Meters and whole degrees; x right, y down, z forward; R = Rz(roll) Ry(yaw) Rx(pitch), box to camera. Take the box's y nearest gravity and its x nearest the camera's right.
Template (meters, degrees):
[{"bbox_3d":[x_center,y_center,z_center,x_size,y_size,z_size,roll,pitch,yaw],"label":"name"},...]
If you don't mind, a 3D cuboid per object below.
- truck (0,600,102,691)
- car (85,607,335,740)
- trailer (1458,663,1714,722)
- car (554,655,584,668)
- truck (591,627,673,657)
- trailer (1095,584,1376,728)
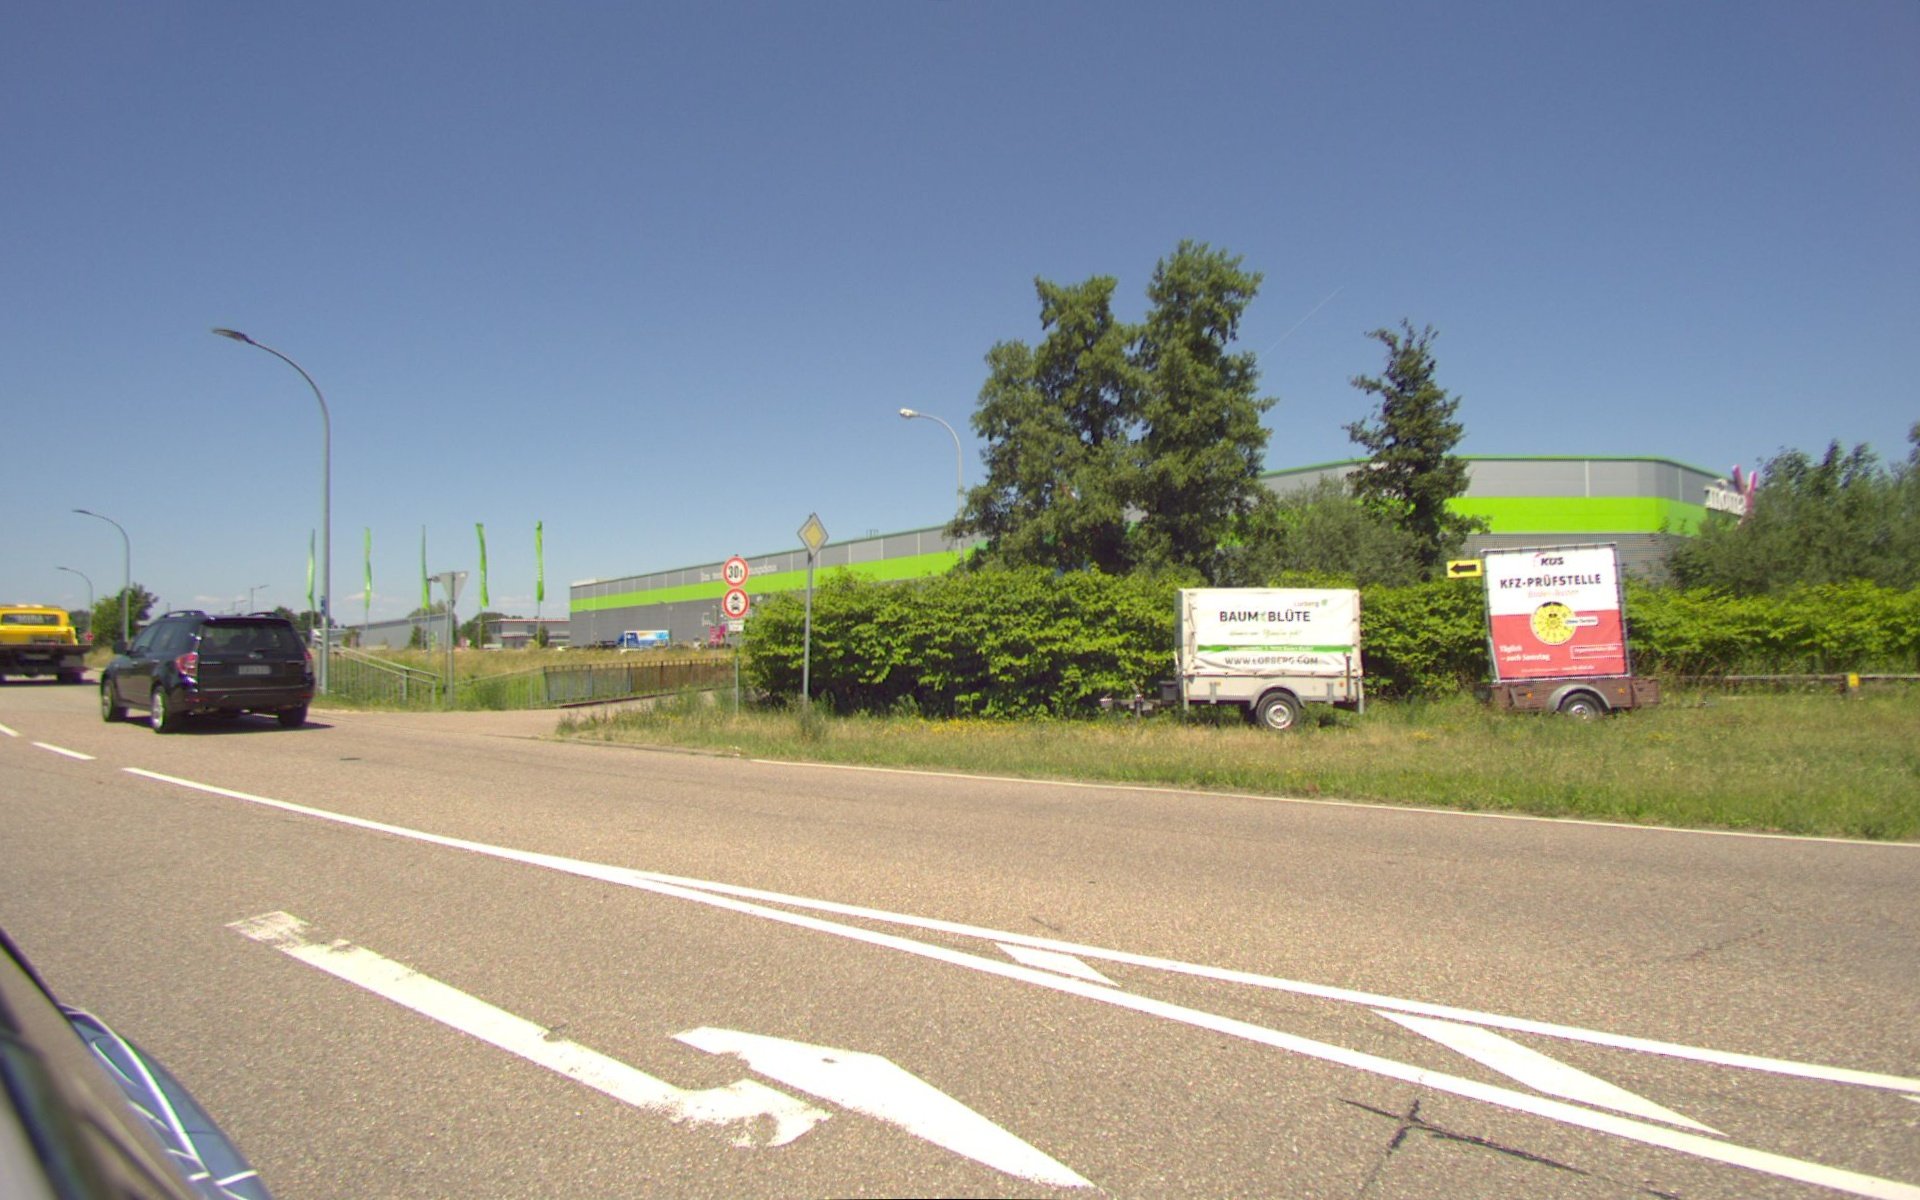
[{"bbox_3d":[-27.472,1.322,29.784,9.051,2.355,2.285,-2,-4,43],"label":"truck"},{"bbox_3d":[-11.183,1.024,15.027,3.993,1.715,1.884,-2,-3,37],"label":"car"},{"bbox_3d":[9.230,1.370,15.121,2.819,0.744,1.562,-1,-1,8],"label":"trailer"},{"bbox_3d":[-60.521,9.497,156.633,3.936,1.752,2.003,-1,-2,-39],"label":"car"},{"bbox_3d":[-34.187,4.394,105.711,7.657,2.704,2.966,-2,-3,-6],"label":"truck"},{"bbox_3d":[4.064,0.844,15.551,3.914,2.029,1.851,-1,-1,8],"label":"trailer"}]
